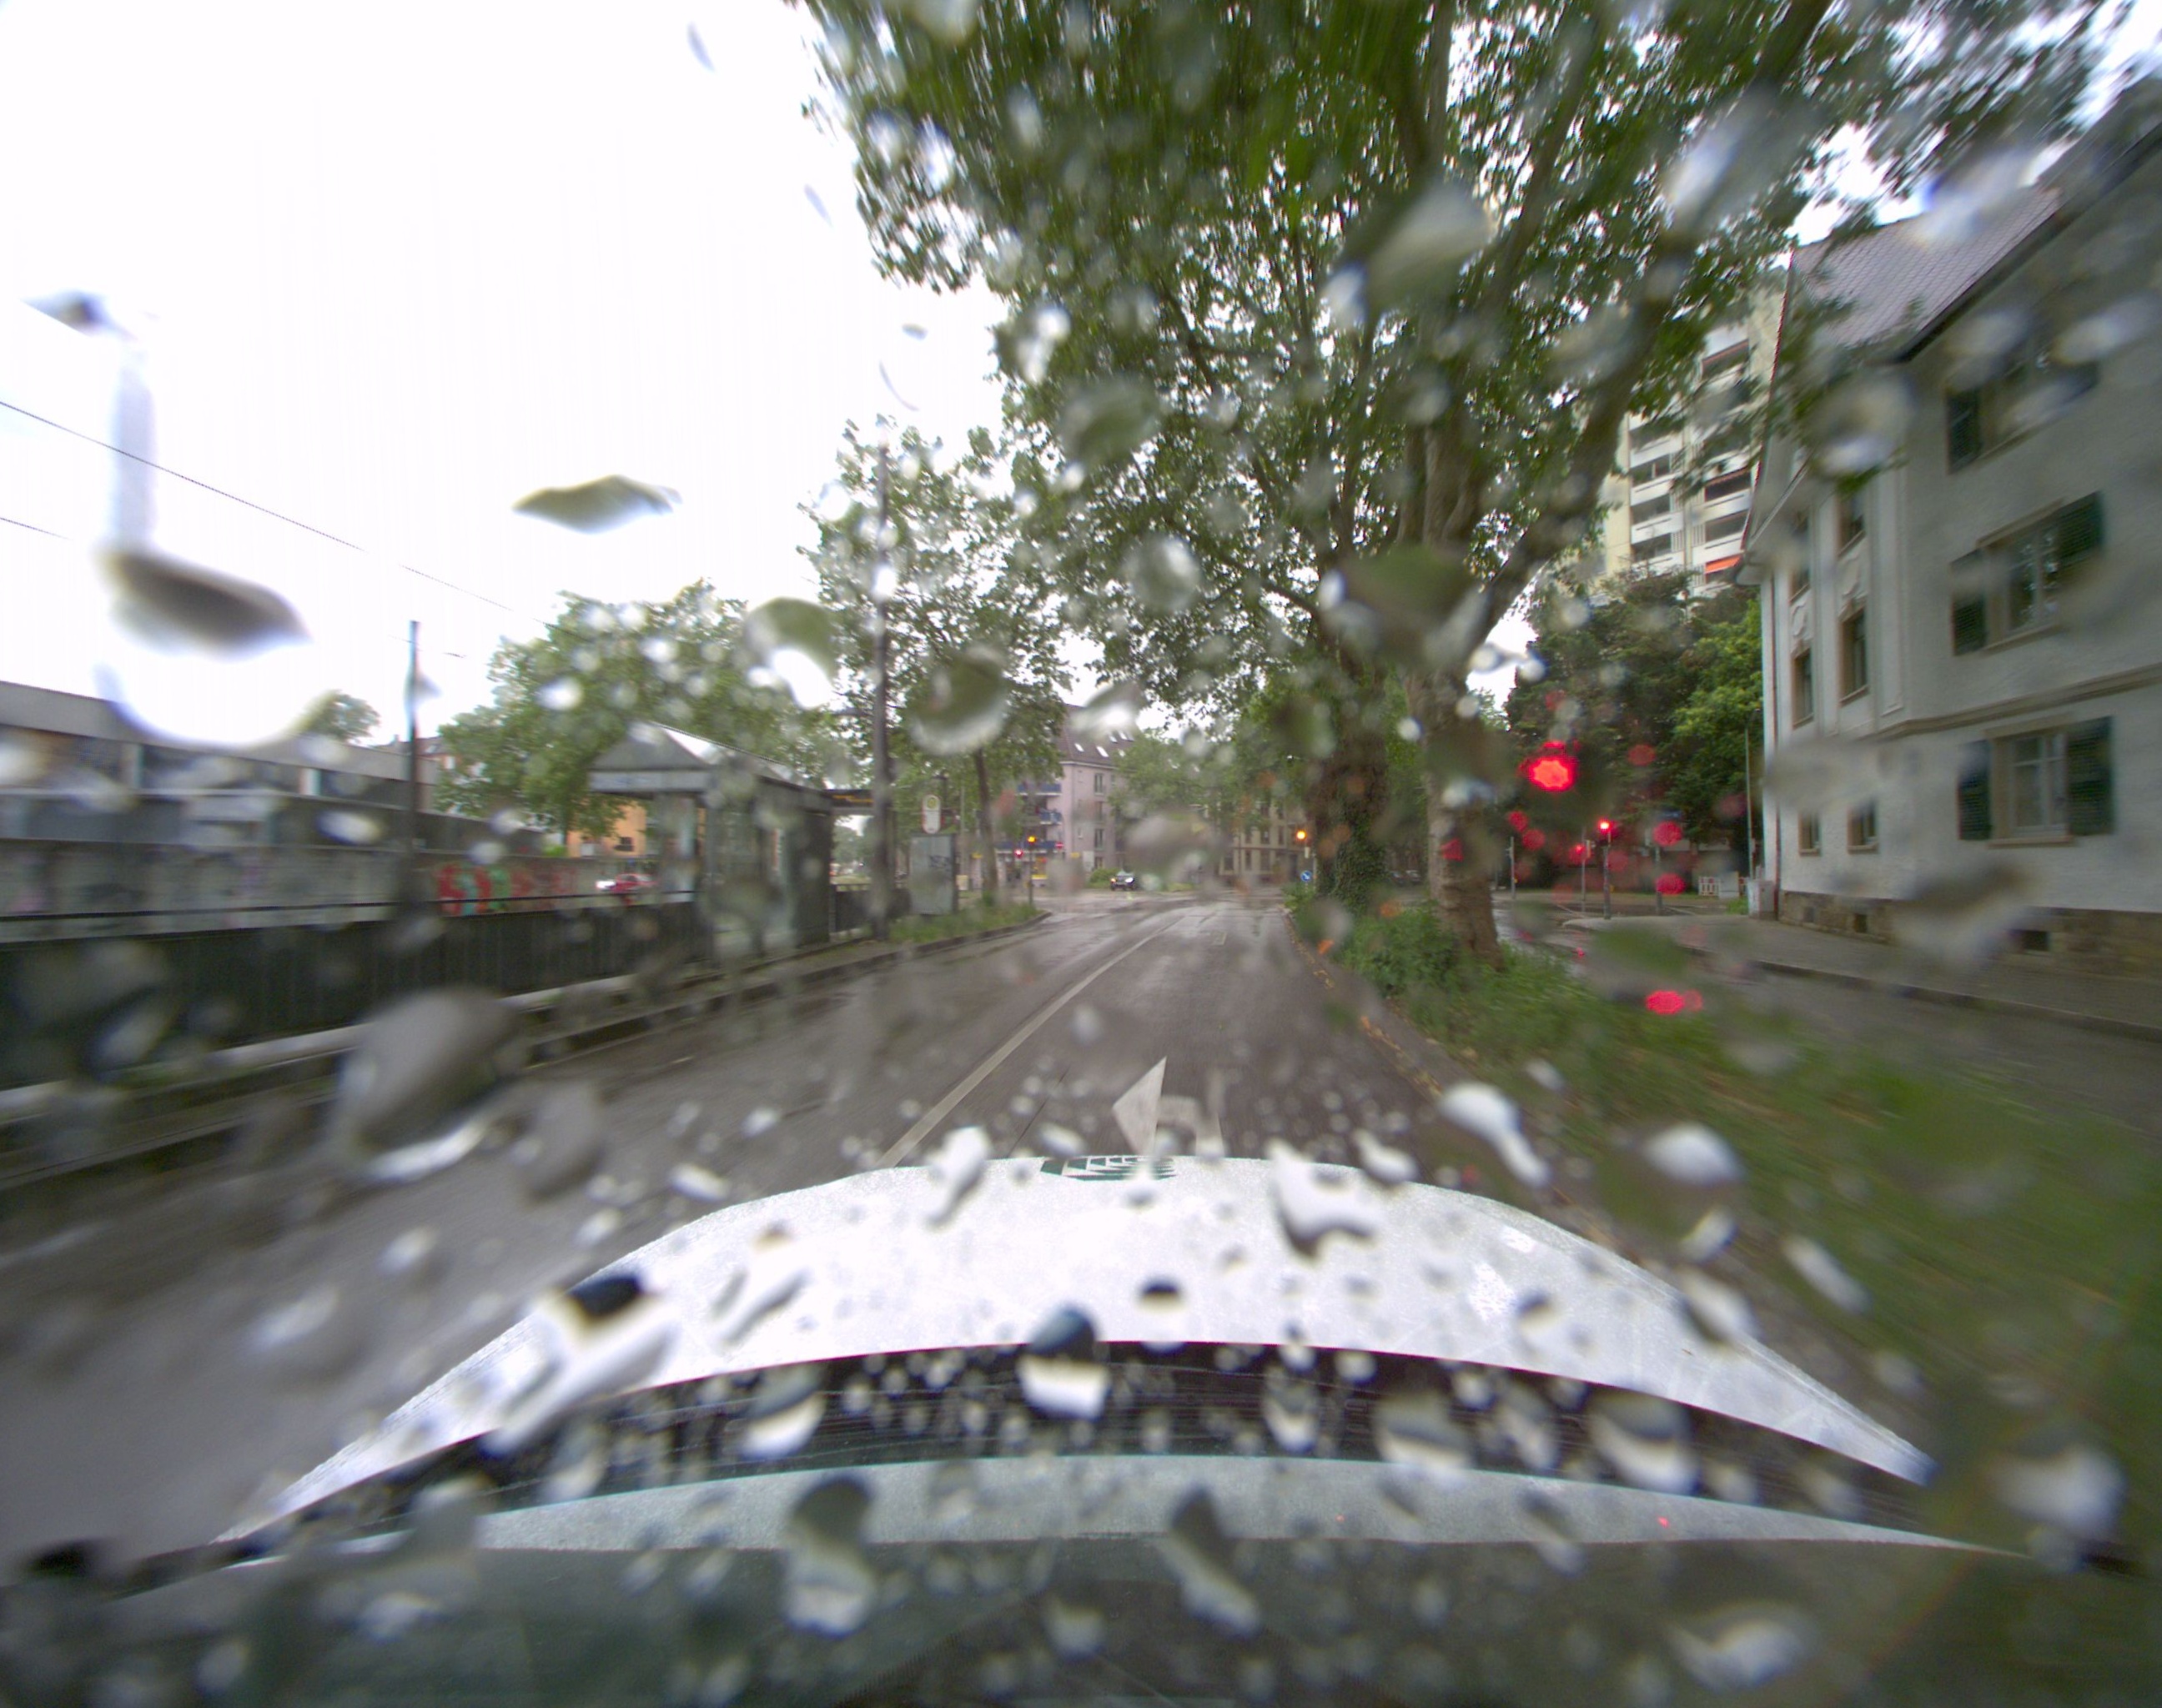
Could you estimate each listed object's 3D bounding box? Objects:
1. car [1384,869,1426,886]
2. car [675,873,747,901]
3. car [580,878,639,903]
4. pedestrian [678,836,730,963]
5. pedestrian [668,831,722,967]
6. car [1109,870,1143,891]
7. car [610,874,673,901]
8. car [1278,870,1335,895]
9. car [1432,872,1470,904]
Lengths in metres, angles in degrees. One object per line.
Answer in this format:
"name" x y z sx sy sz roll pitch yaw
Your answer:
"car" 33.242 2.427 83.474 3.571 1.618 1.692 -3 -2 41
"car" -23.502 2.078 51.694 3.970 1.651 1.984 -3 -2 24
"car" -33.620 2.630 58.100 3.747 1.639 1.734 -3 -2 24
"pedestrian" -5.352 0.625 11.548 0.585 1.731 0.562 -1 -2 -32
"pedestrian" -5.110 0.581 10.768 0.584 1.731 0.563 -1 -2 -30
"car" 3.481 2.006 62.441 1.711 1.552 3.576 -2 -2 18
"car" -29.273 2.222 54.216 3.747 1.639 1.734 -3 -2 24
"car" 14.976 1.892 54.048 3.449 1.523 1.528 -3 -2 21
"car" 25.102 2.295 55.121 1.974 2.014 4.024 -3 -2 29
